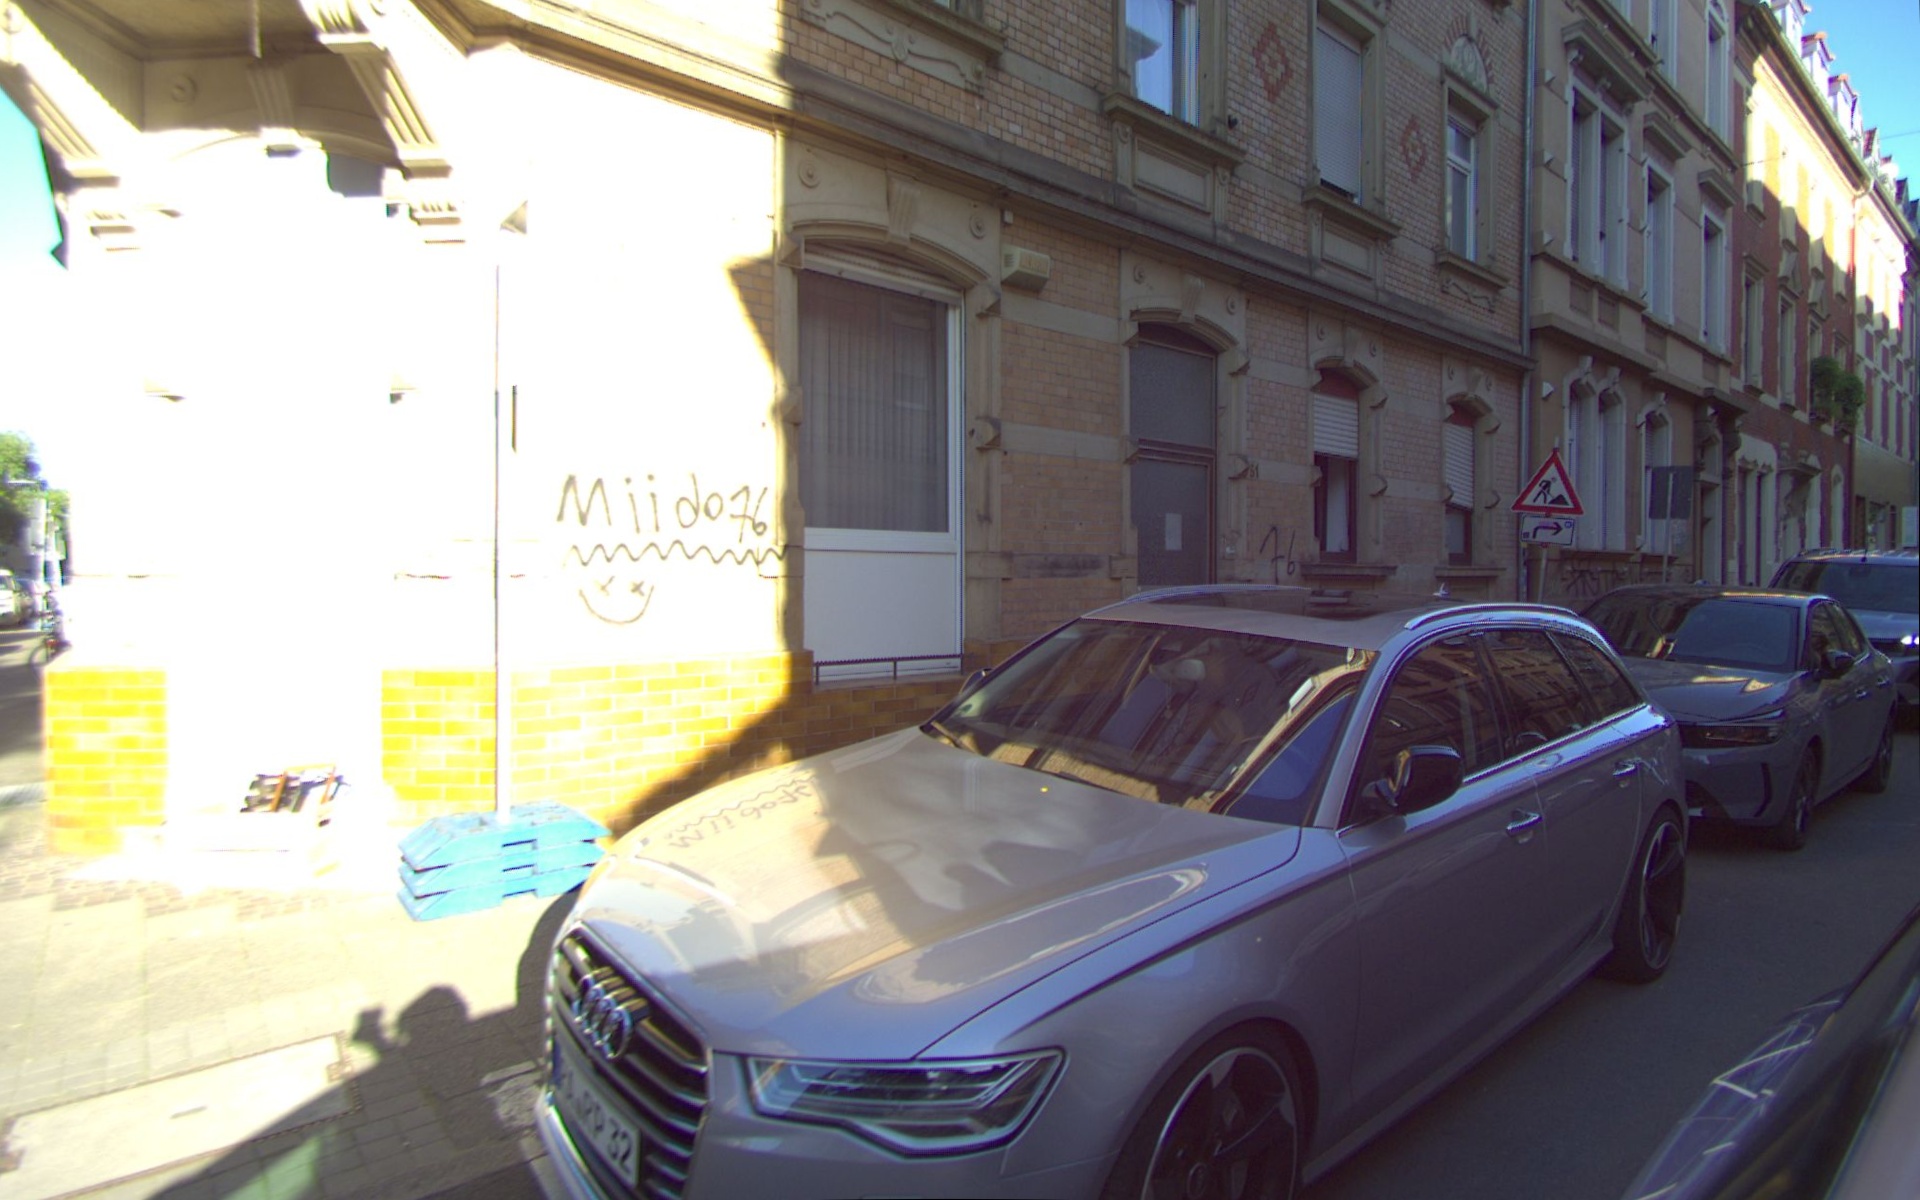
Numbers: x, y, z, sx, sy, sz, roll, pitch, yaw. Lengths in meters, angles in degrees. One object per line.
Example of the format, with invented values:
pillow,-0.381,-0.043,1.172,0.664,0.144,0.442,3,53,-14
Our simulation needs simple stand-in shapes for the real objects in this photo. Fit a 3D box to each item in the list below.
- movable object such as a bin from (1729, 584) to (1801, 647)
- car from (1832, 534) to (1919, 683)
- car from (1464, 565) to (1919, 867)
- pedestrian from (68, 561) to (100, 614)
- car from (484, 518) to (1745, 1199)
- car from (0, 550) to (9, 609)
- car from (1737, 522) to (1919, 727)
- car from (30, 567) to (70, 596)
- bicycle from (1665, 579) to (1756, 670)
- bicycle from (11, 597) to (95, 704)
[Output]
movable object such as a bin,14.897,0.266,18.730,0.710,1.074,0.897,-1,4,-42
car,14.938,0.076,15.349,4.657,2.039,1.835,-1,0,-40
car,5.138,0.544,6.884,3.818,1.497,1.670,0,1,-40
pedestrian,-26.688,-0.402,30.830,0.699,1.586,0.723,-1,2,-40
car,0.991,0.594,3.426,4.431,1.477,1.709,-1,0,-40
car,-29.397,-0.610,29.956,1.510,1.771,4.053,-1,2,-39
car,10.564,0.205,11.574,4.188,1.986,1.773,-1,0,-40
car,-51.073,-1.060,56.855,1.475,1.506,3.523,-2,3,-39
bicycle,11.956,0.356,16.109,1.662,1.319,0.729,-1,4,-40
bicycle,-10.374,0.533,11.620,0.619,1.073,1.881,-3,3,-40
